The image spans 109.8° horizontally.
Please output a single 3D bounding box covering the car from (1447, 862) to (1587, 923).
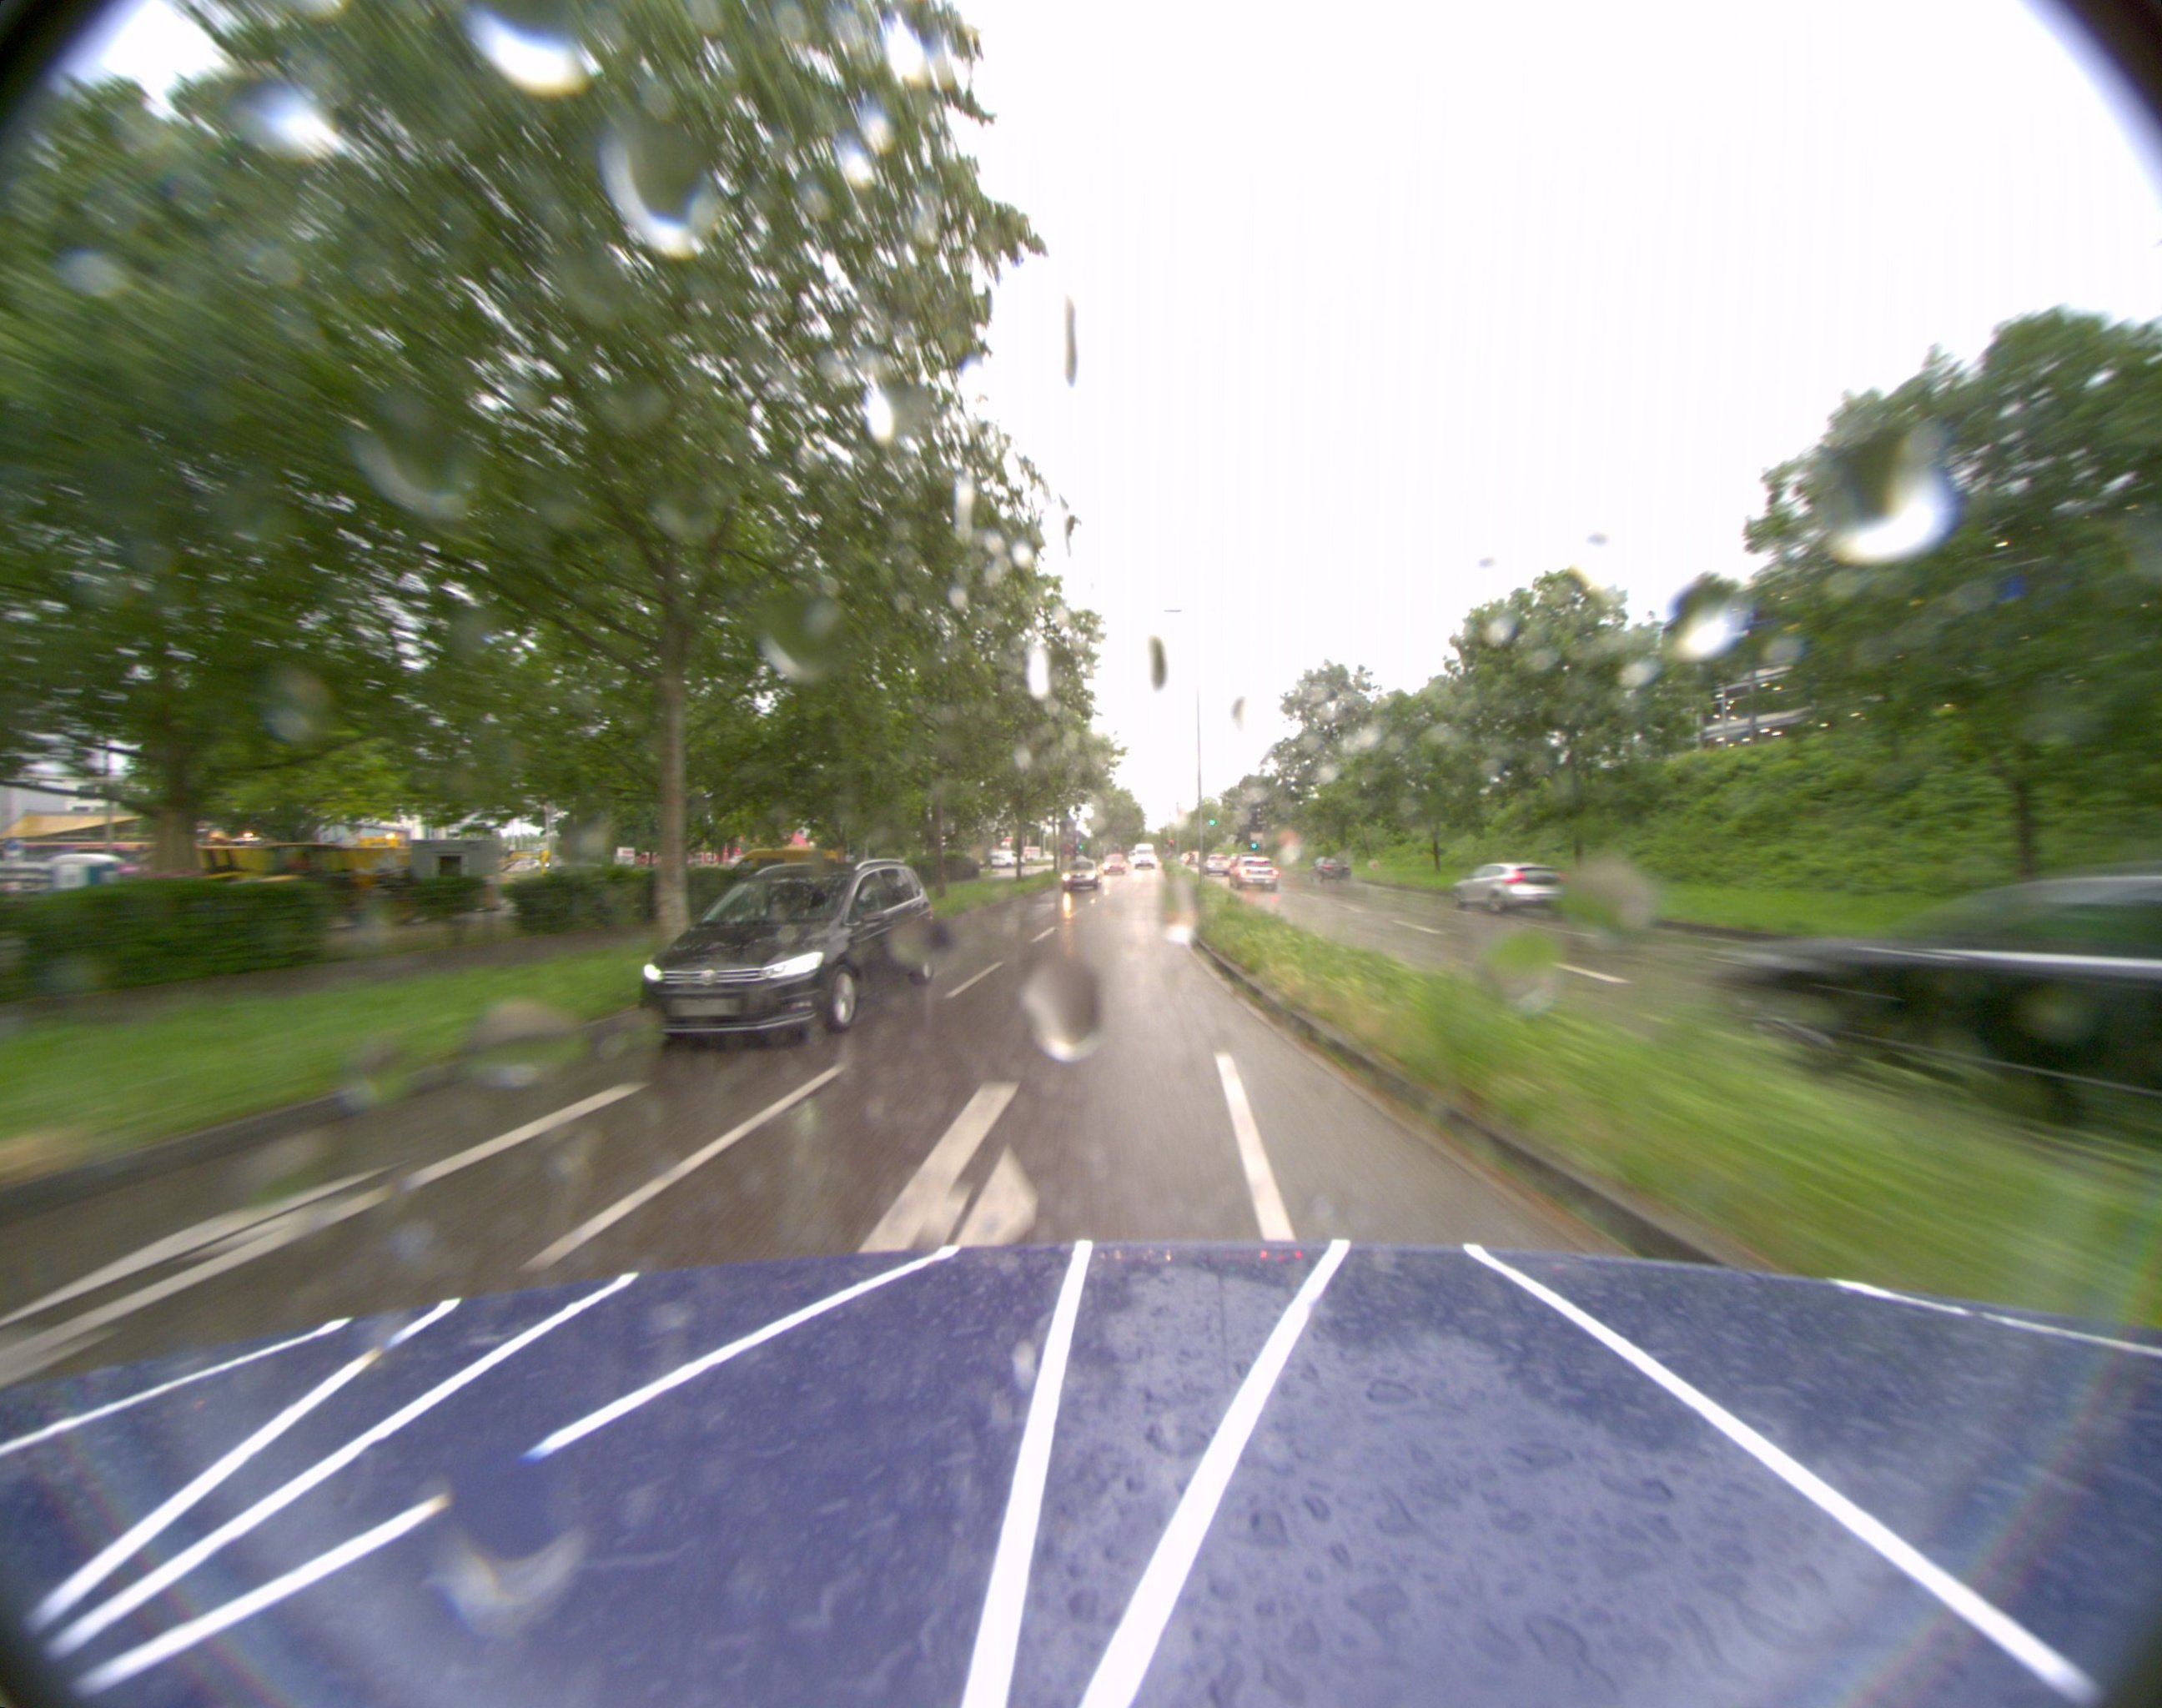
[{"bbox_3d":[12.246,1.015,21.712,1.839,1.493,4.442,1,0,6],"label":"car"}]

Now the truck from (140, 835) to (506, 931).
[{"bbox_3d":[-28.744,0.930,29.700,9.515,3.015,3.074,-3,2,-30],"label":"truck"}]

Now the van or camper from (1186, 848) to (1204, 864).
[{"bbox_3d":[13.165,0.202,87.607,1.732,1.732,4.001,2,1,5],"label":"van or camper"}]

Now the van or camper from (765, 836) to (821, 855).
[{"bbox_3d":[-51.868,-1.521,136.845,8.992,3.139,2.980,-3,2,-30],"label":"van or camper"}]

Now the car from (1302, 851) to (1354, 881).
[{"bbox_3d":[14.583,0.676,45.081,1.997,1.678,4.711,1,0,6],"label":"car"}]

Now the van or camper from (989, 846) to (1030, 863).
[{"bbox_3d":[-8.997,0.076,95.845,4.917,2.076,1.863,0,1,-33],"label":"van or camper"}]

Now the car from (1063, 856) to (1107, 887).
[{"bbox_3d":[0.267,0.867,38.786,1.806,1.422,4.388,-1,0,6],"label":"car"}]

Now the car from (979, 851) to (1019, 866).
[{"bbox_3d":[-9.864,0.534,91.393,4.469,1.663,1.863,0,1,-33],"label":"car"}]

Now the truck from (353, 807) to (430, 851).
[{"bbox_3d":[-56.126,-1.952,62.098,2.500,3.326,9.447,-3,2,-29],"label":"truck"}]

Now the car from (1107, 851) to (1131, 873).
[{"bbox_3d":[3.192,0.606,63.482,1.699,1.759,4.560,-1,0,7],"label":"car"}]

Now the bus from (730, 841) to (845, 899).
[{"bbox_3d":[-14.279,0.768,37.092,4.802,2.632,2.001,-1,0,7],"label":"bus"}]

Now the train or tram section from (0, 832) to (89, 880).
[{"bbox_3d":[-81.965,0.227,57.129,8.544,3.500,2.394,-3,2,-32],"label":"train or tram section"}]

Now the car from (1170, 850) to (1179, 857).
[{"bbox_3d":[20.276,-0.135,165.095,1.779,1.552,3.775,-2,0,6],"label":"car"}]

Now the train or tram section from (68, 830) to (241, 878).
[{"bbox_3d":[-74.818,-0.042,61.670,8.384,3.500,2.394,-3,2,-32],"label":"train or tram section"}]

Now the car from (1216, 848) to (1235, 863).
[{"bbox_3d":[16.847,0.158,88.788,1.902,1.604,4.113,2,1,7],"label":"car"}]

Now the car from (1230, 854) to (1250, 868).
[{"bbox_3d":[19.424,0.846,93.070,1.997,1.678,4.711,1,0,6],"label":"car"}]

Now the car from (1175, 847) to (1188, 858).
[{"bbox_3d":[16.341,-0.269,123.331,1.997,1.678,4.711,1,0,6],"label":"car"}]

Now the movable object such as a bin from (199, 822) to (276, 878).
[{"bbox_3d":[-57.301,-0.272,51.633,3.602,3.605,3.326,0,1,41],"label":"movable object such as a bin"}]

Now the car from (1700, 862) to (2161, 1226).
[{"bbox_3d":[5.706,0.864,3.461,1.913,1.565,4.708,1,0,0],"label":"car"}]

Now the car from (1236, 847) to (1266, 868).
[{"bbox_3d":[14.532,0.318,65.266,1.997,1.678,4.711,1,0,6],"label":"car"}]

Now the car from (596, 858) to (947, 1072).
[{"bbox_3d":[-2.983,0.959,8.475,1.860,1.716,4.192,-2,0,5],"label":"car"}]

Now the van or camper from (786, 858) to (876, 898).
[{"bbox_3d":[-12.979,1.232,39.620,3.996,1.895,1.802,-2,0,2],"label":"van or camper"}]

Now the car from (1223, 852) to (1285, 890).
[{"bbox_3d":[7.731,0.724,34.375,1.913,1.565,4.709,1,0,3],"label":"car"}]

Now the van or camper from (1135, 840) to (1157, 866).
[{"bbox_3d":[6.852,-0.087,79.767,2.099,2.579,4.778,-2,0,7],"label":"van or camper"}]

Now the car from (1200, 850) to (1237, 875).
[{"bbox_3d":[9.765,0.590,54.320,1.903,1.604,4.111,2,1,1],"label":"car"}]

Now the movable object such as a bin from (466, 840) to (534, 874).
[{"bbox_3d":[-40.685,0.188,53.302,3.284,2.342,2.010,-1,1,-17],"label":"movable object such as a bin"}]
